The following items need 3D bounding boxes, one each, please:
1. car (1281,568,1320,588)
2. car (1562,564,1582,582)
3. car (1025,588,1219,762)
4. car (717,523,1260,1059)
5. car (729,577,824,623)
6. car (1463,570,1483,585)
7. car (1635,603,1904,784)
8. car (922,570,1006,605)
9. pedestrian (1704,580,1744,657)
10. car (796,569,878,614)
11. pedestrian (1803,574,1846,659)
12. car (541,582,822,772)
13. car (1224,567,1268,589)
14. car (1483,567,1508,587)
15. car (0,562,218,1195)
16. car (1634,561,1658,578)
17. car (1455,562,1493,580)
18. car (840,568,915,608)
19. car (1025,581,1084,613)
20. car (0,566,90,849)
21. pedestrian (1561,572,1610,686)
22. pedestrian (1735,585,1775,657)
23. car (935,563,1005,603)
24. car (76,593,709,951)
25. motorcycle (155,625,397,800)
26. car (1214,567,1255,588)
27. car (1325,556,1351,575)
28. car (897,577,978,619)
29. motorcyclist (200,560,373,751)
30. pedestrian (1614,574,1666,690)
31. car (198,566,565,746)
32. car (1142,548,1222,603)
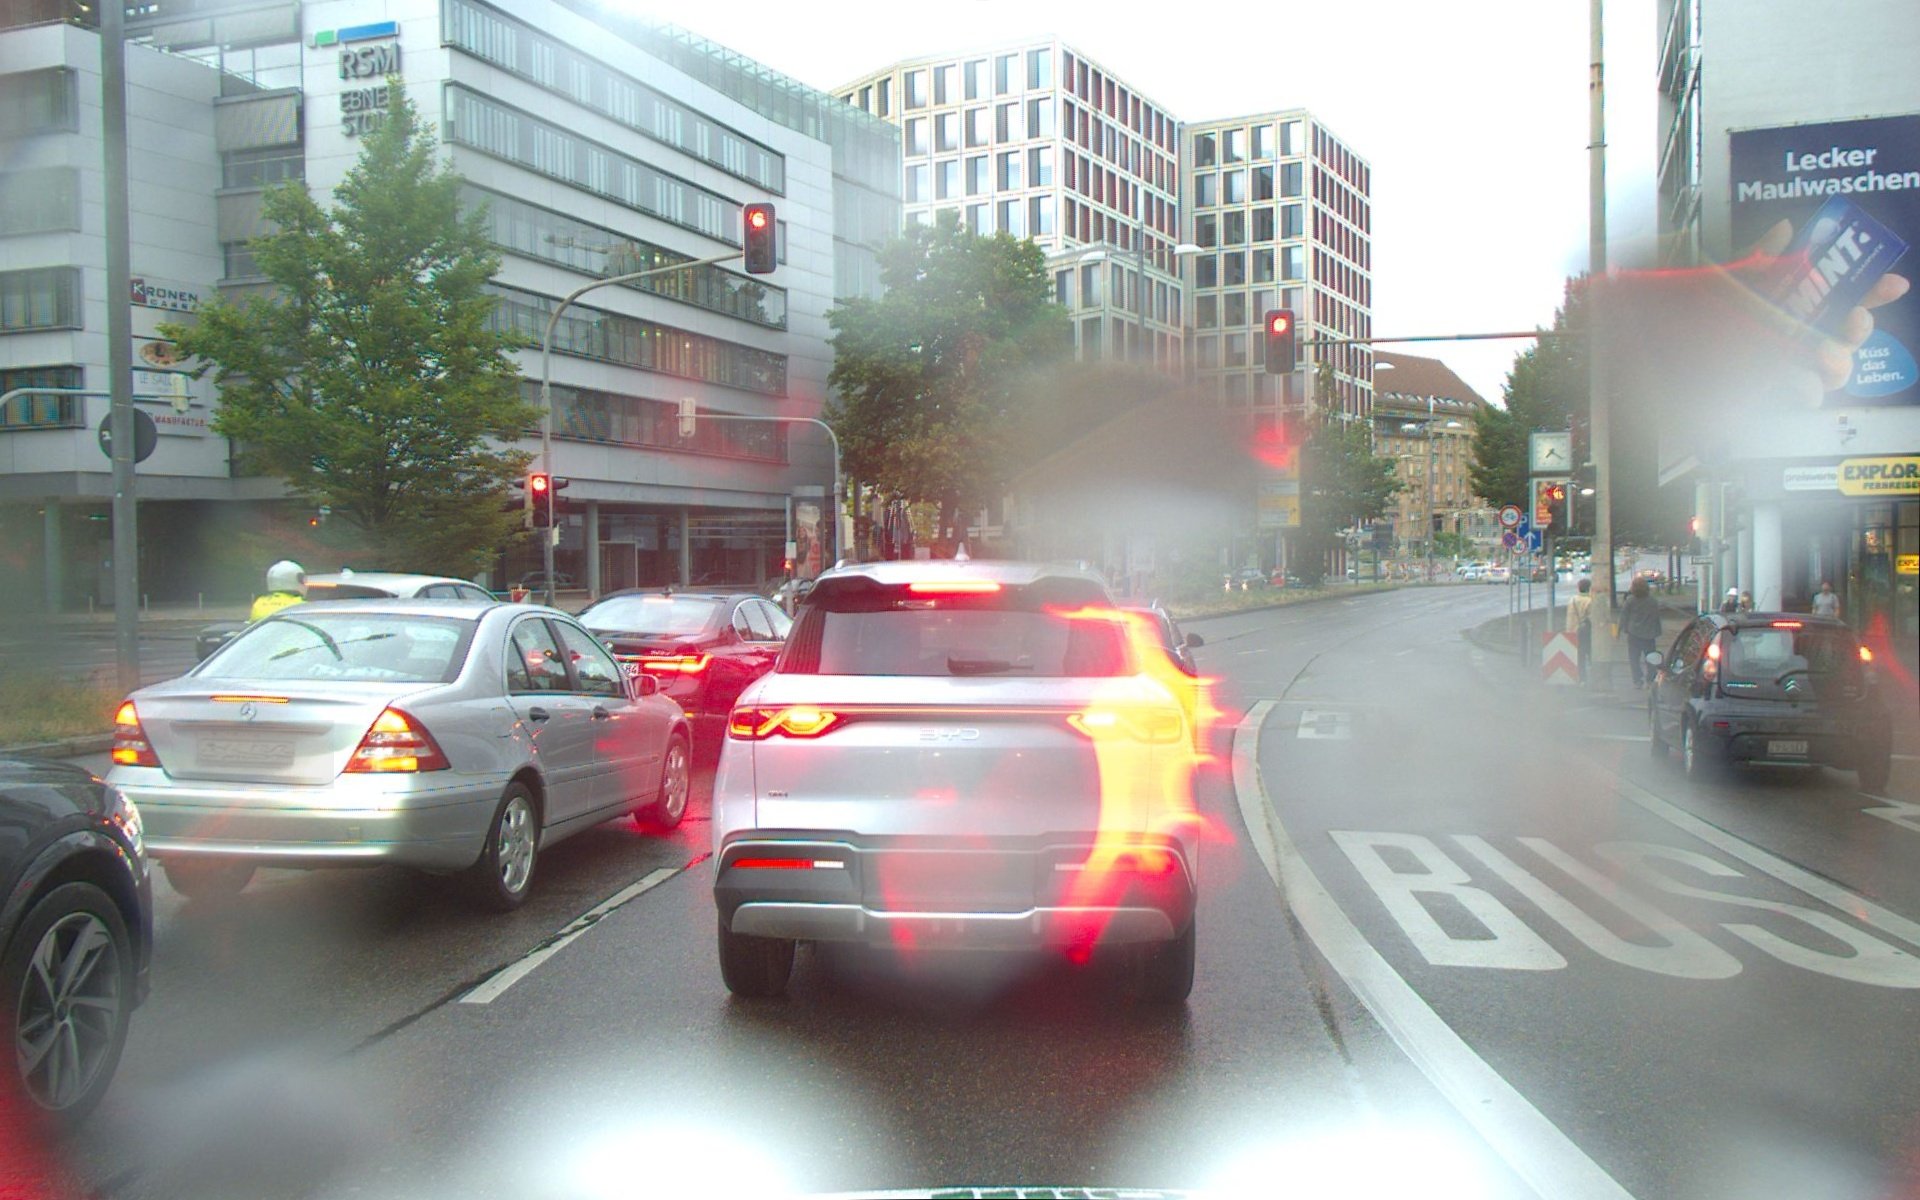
[{"bbox_3d":[25.962,-1.673,125.949,1.955,1.514,3.996,0,1,27],"label":"car"},{"bbox_3d":[74.674,-3.288,201.731,1.954,2.049,3.996,1,0,26],"label":"car"},{"bbox_3d":[1.742,0.674,16.656,1.657,1.512,4.003,1,0,10],"label":"car"},{"bbox_3d":[0.138,0.626,7.370,1.739,1.708,4.000,1,0,1],"label":"car"},{"bbox_3d":[-6.799,-0.014,61.640,1.952,1.639,4.001,1,1,20],"label":"car"},{"bbox_3d":[50.927,-2.243,164.159,1.598,1.462,3.907,0,1,23],"label":"car"},{"bbox_3d":[7.486,0.779,15.655,1.537,1.454,4.003,1,0,15],"label":"car"},{"bbox_3d":[0.241,-0.620,76.902,1.778,1.536,5.190,0,1,27],"label":"car"},{"bbox_3d":[17.159,0.408,37.142,0.659,1.684,0.649,1,0,43],"label":"pedestrian"},{"bbox_3d":[-4.371,-0.303,59.422,1.609,1.563,4.155,1,0,16],"label":"car"},{"bbox_3d":[18.770,0.349,35.905,0.659,1.825,0.768,1,0,43],"label":"pedestrian"},{"bbox_3d":[-2.438,0.633,15.455,1.537,1.512,4.003,1,0,6],"label":"car"},{"bbox_3d":[19.949,-1.555,115.396,1.955,1.514,3.996,0,1,27],"label":"car"},{"bbox_3d":[46.499,-1.966,143.538,1.849,1.671,4.000,1,1,22],"label":"car"},{"bbox_3d":[-3.140,0.679,3.062,1.614,1.548,4.271,1,1,0],"label":"car"},{"bbox_3d":[62.820,-2.790,151.435,1.662,1.512,3.993,1,0,29],"label":"car"},{"bbox_3d":[60.106,-3.365,193.368,3.908,2.049,1.998,1,0,26],"label":"car"},{"bbox_3d":[-3.411,-0.485,68.952,1.605,1.598,3.716,1,0,24],"label":"car"},{"bbox_3d":[4.926,-0.169,85.581,1.598,1.586,4.592,0,1,23],"label":"car"},{"bbox_3d":[-6.275,0.594,7.612,1.826,1.560,4.779,1,1,3],"label":"car"},{"bbox_3d":[10.303,0.461,27.258,0.733,1.829,0.817,0,1,20],"label":"pedestrian"},{"bbox_3d":[17.629,0.458,36.673,0.615,1.570,0.649,1,0,43],"label":"pedestrian"},{"bbox_3d":[0.456,-0.721,69.106,1.610,1.608,4.086,1,0,21],"label":"car"},{"bbox_3d":[-2.661,0.709,8.851,1.537,1.432,4.112,1,0,7],"label":"car"},{"bbox_3d":[-5.208,0.809,12.764,0.783,1.205,2.030,1,0,8],"label":"motorcycle"},{"bbox_3d":[20.480,-1.665,123.282,1.955,1.514,3.996,0,1,27],"label":"car"},{"bbox_3d":[37.498,-3.450,164.085,1.577,1.771,3.437,1,0,31],"label":"car"},{"bbox_3d":[-0.759,-0.057,58.725,1.655,1.409,3.870,1,0,18],"label":"car"},{"bbox_3d":[-5.197,0.412,12.818,0.753,1.404,1.119,1,0,8],"label":"motorcyclist"},{"bbox_3d":[11.012,0.501,26.806,0.733,1.829,0.817,0,1,20],"label":"pedestrian"},{"bbox_3d":[-5.456,0.490,16.187,1.670,1.512,4.003,1,0,9],"label":"car"},{"bbox_3d":[8.784,-0.942,65.128,1.953,2.049,4.848,1,0,22],"label":"car"}]
